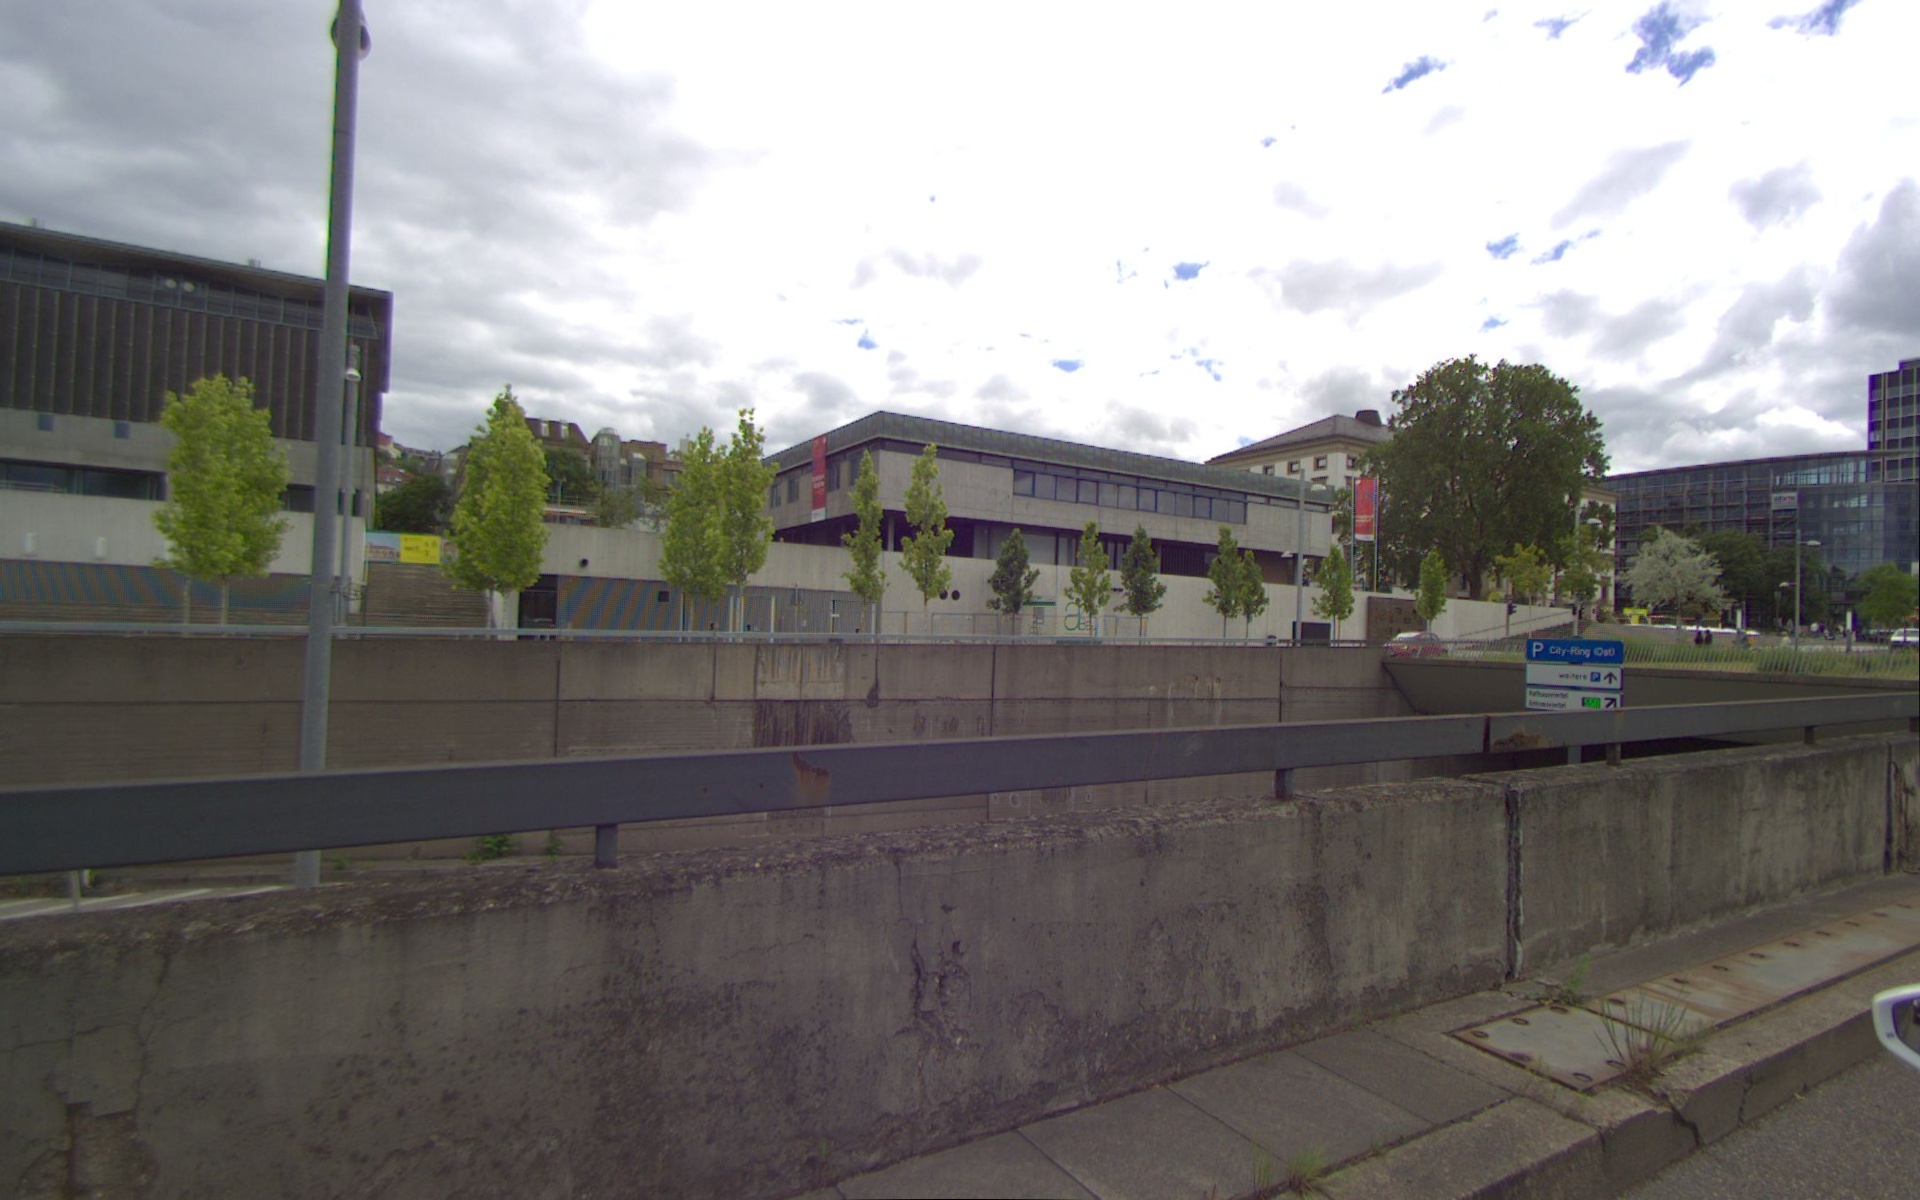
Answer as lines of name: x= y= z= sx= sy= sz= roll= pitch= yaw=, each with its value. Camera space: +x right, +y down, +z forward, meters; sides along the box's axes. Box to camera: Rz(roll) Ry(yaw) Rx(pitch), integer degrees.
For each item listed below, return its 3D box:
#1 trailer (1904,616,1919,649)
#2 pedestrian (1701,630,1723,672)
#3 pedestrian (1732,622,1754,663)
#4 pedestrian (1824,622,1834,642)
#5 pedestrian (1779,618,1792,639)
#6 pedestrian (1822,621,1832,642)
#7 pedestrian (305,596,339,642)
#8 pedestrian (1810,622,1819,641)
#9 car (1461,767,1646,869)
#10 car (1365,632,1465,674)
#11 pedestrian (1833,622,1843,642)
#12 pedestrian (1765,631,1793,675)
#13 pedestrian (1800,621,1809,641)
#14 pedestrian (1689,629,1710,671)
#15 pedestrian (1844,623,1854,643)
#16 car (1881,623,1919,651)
trailer: x=79.827 y=2.695 z=82.309 sx=5.443 sy=2.640 sz=2.027 roll=1 pitch=1 yaw=-30
pedestrian: x=37.030 y=2.484 z=49.474 sx=0.779 sy=2.040 sz=0.834 roll=0 pitch=-1 yaw=33
pedestrian: x=40.603 y=2.187 z=52.087 sx=0.623 sy=2.041 sz=0.724 roll=-4 pitch=2 yaw=-37
pedestrian: x=88.614 y=3.223 z=102.449 sx=0.730 sy=2.040 sz=0.789 roll=0 pitch=0 yaw=40
pedestrian: x=80.808 y=2.759 z=98.300 sx=1.103 sy=2.040 sz=0.733 roll=0 pitch=0 yaw=-35
pedestrian: x=87.727 y=3.170 z=101.626 sx=0.730 sy=2.040 sz=1.109 roll=0 pitch=0 yaw=40
pedestrian: x=-23.464 y=0.708 z=36.939 sx=0.777 sy=1.664 sz=0.740 roll=0 pitch=0 yaw=-2
pedestrian: x=89.895 y=3.301 z=105.635 sx=0.730 sy=2.040 sz=0.789 roll=0 pitch=0 yaw=40
car: x=16.611 y=5.980 z=28.059 sx=5.054 sy=2.040 sz=2.209 roll=2 pitch=-1 yaw=-29
car: x=22.062 y=2.546 z=48.691 sx=4.681 sy=1.879 sz=2.164 roll=2 pitch=-1 yaw=-31
pedestrian: x=88.602 y=3.220 z=101.382 sx=0.730 sy=2.040 sz=0.789 roll=0 pitch=0 yaw=40
pedestrian: x=38.298 y=2.467 z=46.961 sx=0.622 sy=2.040 sz=0.856 roll=0 pitch=0 yaw=-30
pedestrian: x=89.274 y=3.266 z=106.141 sx=0.730 sy=2.040 sz=0.789 roll=0 pitch=0 yaw=40
pedestrian: x=36.291 y=2.441 z=49.286 sx=0.779 sy=2.040 sz=0.834 roll=0 pitch=-1 yaw=33
pedestrian: x=90.105 y=3.320 z=101.794 sx=0.729 sy=2.040 sz=1.109 roll=0 pitch=0 yaw=40
car: x=75.375 y=2.914 z=79.788 sx=4.635 sy=2.040 sz=1.984 roll=0 pitch=0 yaw=-30
